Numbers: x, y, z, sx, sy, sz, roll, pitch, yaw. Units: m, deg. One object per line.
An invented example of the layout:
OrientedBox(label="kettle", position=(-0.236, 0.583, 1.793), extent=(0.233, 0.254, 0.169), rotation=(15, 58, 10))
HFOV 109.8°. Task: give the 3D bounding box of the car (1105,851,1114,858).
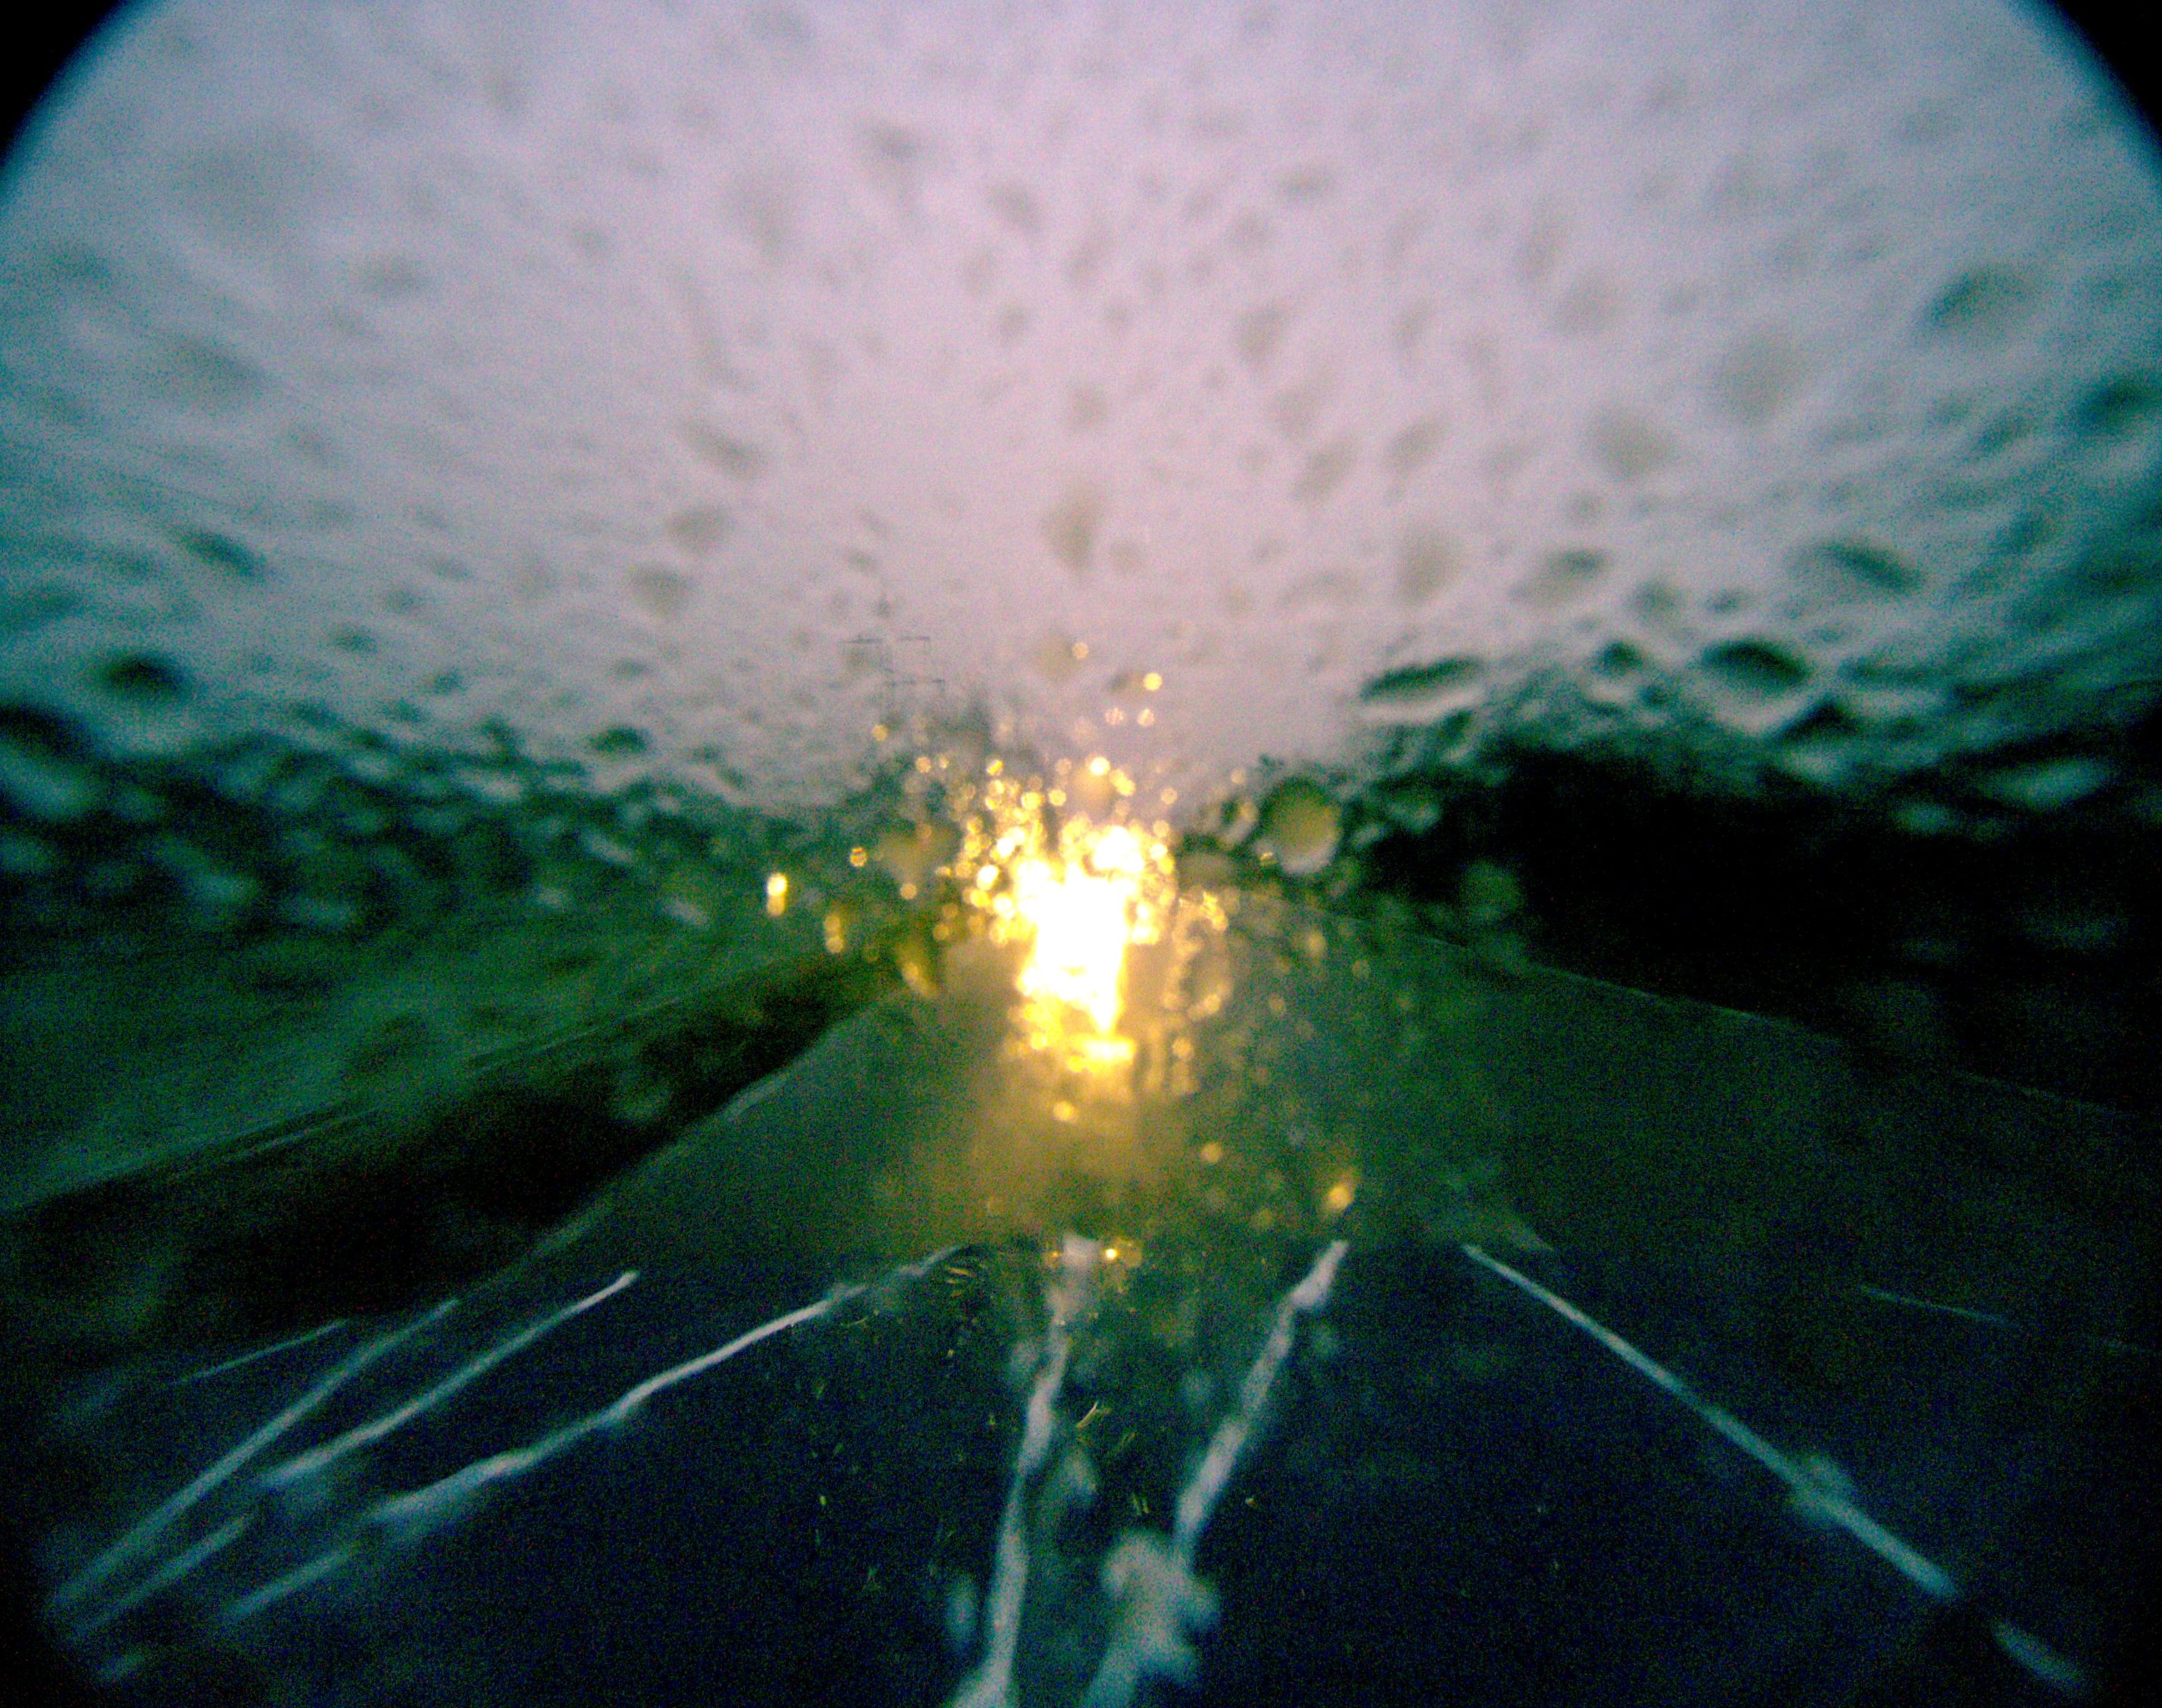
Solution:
OrientedBox(label="car", position=(6.273, 0.138, 168.951), extent=(1.912, 1.549, 3.928), rotation=(-2, 1, 2))

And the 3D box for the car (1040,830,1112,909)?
OrientedBox(label="car", position=(-0.041, 0.414, 24.128), extent=(1.952, 2.195, 4.535), rotation=(-2, 1, 3))

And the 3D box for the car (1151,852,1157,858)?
OrientedBox(label="car", position=(24.757, 0.322, 258.866), extent=(1.912, 1.654, 3.929), rotation=(-2, 1, 3))
